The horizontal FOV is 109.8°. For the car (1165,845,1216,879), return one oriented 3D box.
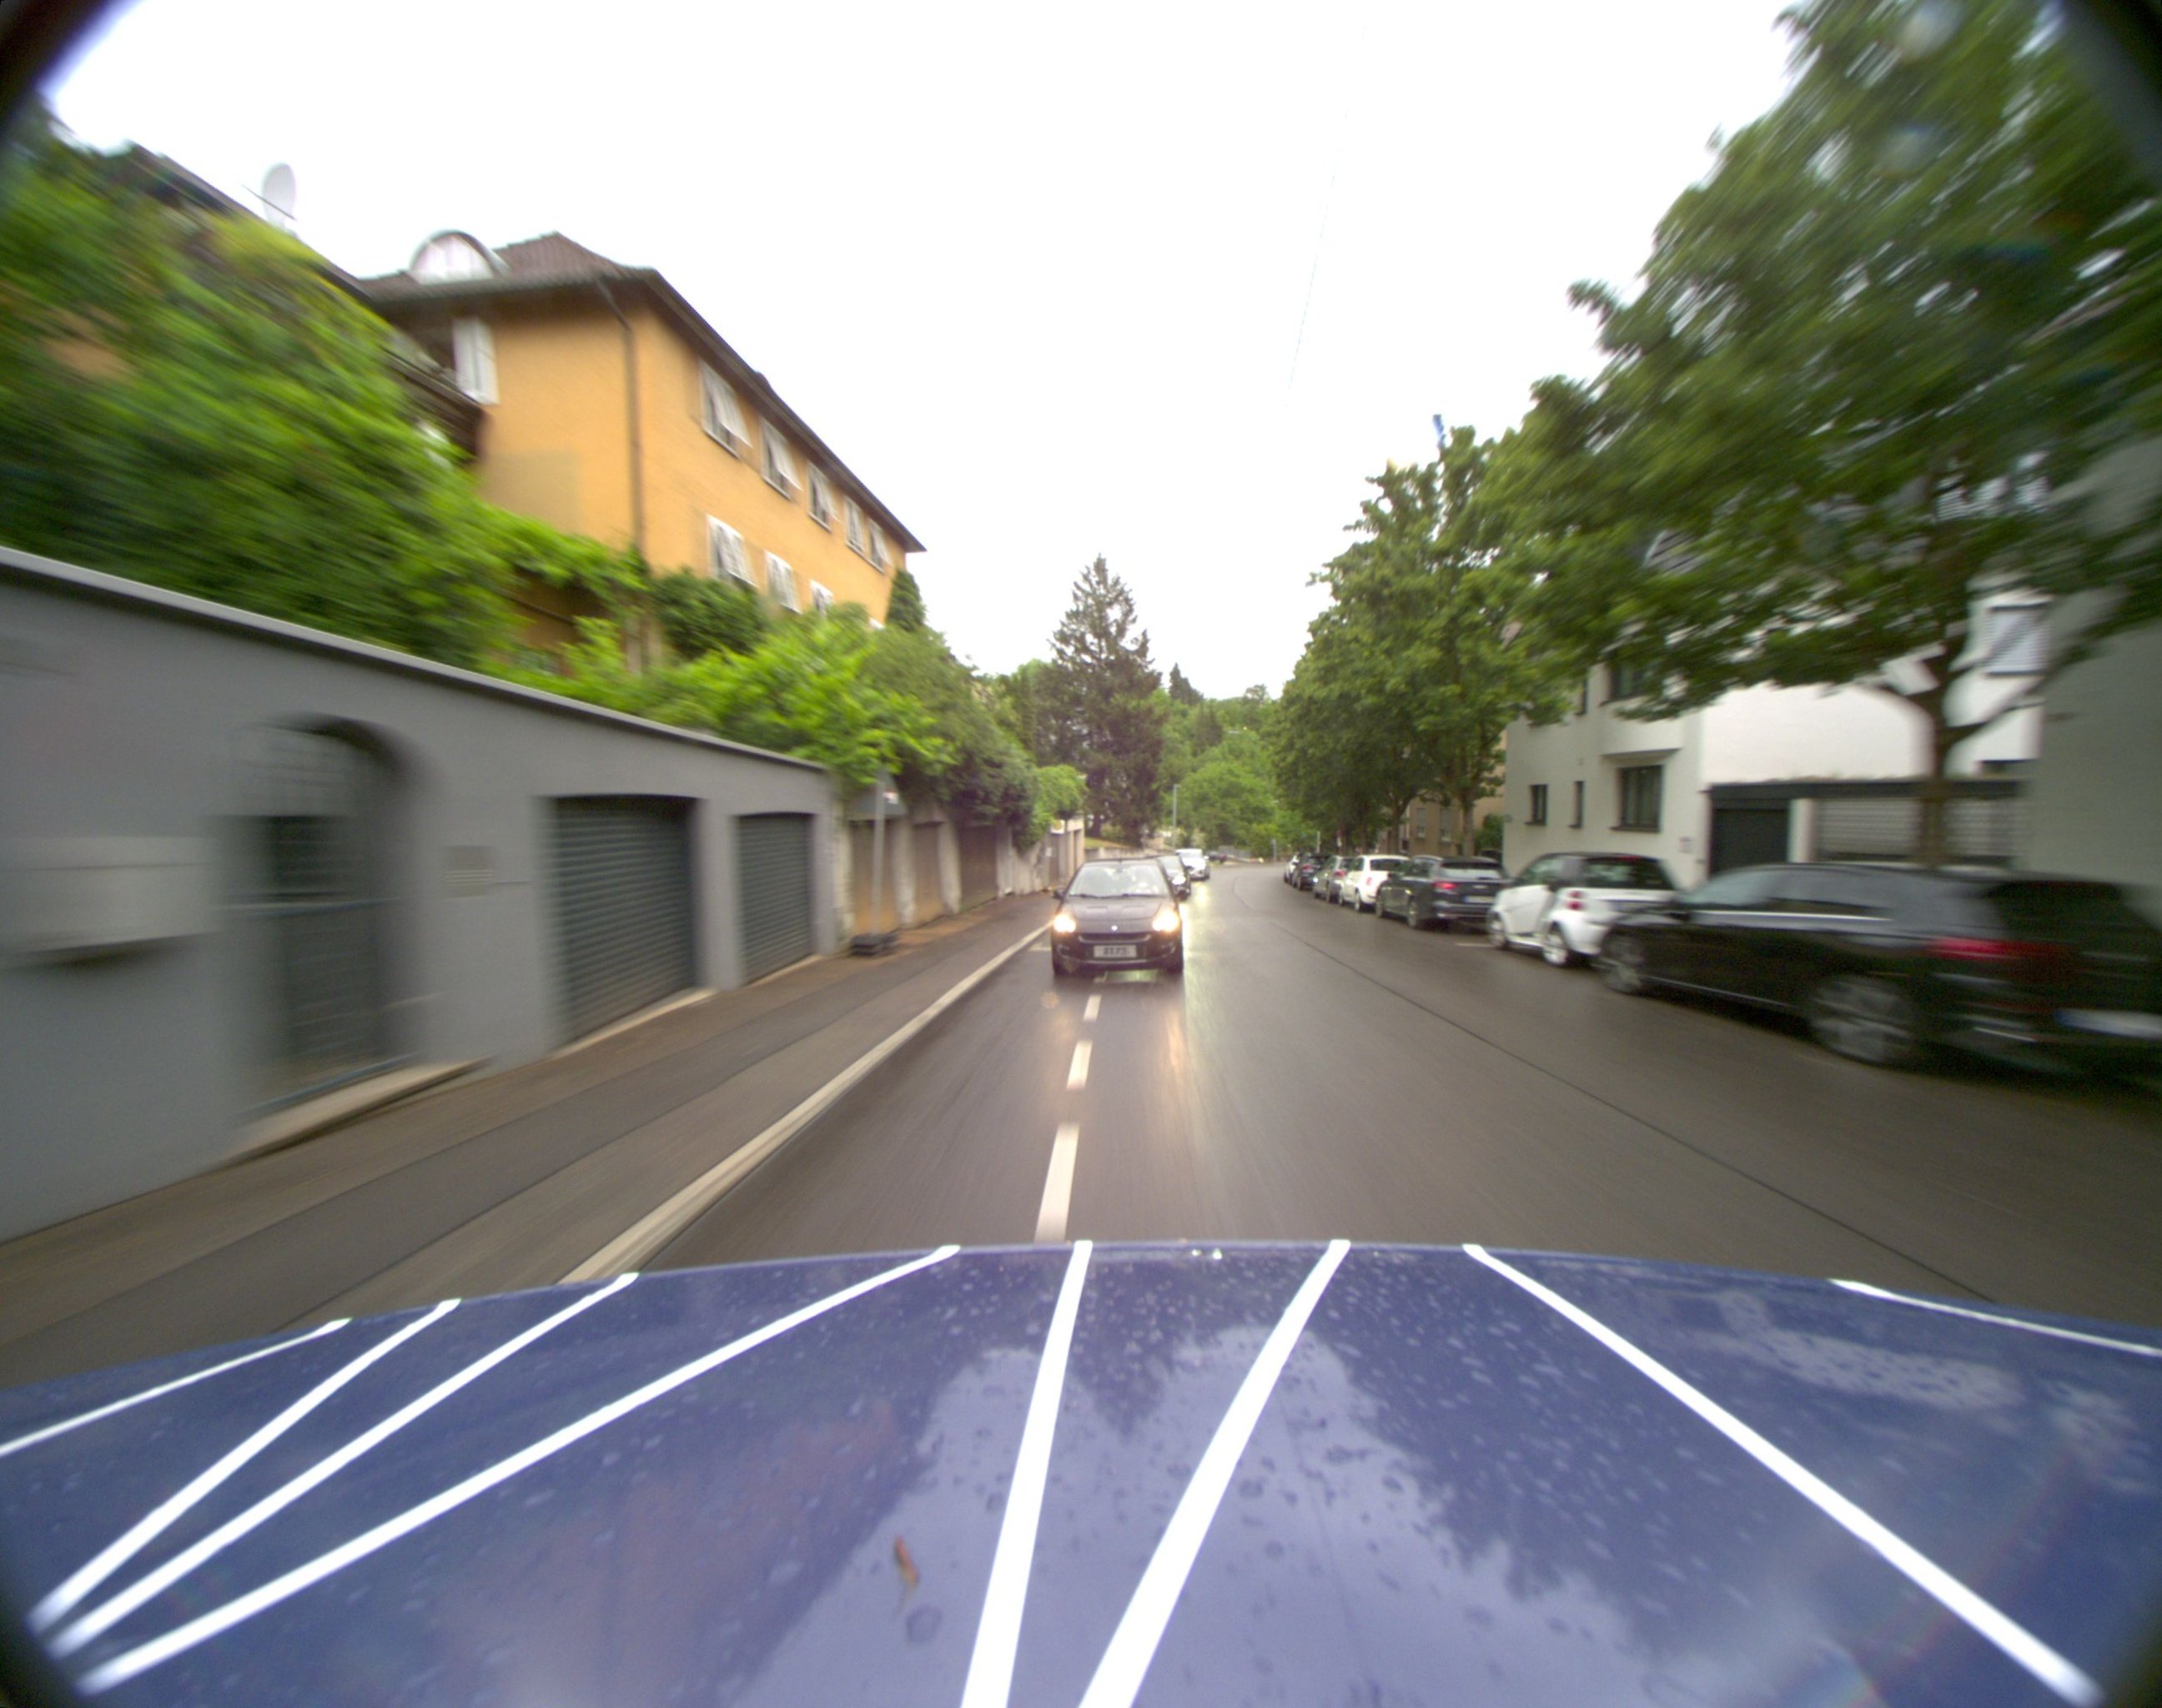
[{"bbox_3d":[5.802,0.391,39.896,2.010,1.652,4.450,2,1,16],"label":"car"}]

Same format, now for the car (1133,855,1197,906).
[{"bbox_3d":[2.865,0.812,25.192,1.806,1.480,4.020,2,1,10],"label":"car"}]

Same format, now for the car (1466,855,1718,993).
[{"bbox_3d":[7.075,0.858,10.972,1.558,1.502,3.384,3,2,7],"label":"car"}]

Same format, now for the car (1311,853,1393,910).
[{"bbox_3d":[8.475,0.790,24.079,1.621,1.462,3.974,3,2,8],"label":"car"}]

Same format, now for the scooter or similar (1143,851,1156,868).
[{"bbox_3d":[4.698,0.358,52.181,0.598,1.126,1.372,2,1,17],"label":"scooter or similar"}]

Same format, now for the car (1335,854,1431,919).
[{"bbox_3d":[7.953,0.789,20.290,1.577,1.480,3.472,3,1,9],"label":"car"}]

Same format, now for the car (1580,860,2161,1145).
[{"bbox_3d":[6.282,0.899,6.481,1.558,1.480,4.098,3,2,5],"label":"car"}]

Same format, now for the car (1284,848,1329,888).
[{"bbox_3d":[10.884,0.632,36.875,1.594,1.649,3.926,5,2,11],"label":"car"}]

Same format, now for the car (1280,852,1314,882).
[{"bbox_3d":[12.172,0.686,42.713,1.619,1.463,3.673,6,2,17],"label":"car"}]

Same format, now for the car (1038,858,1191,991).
[{"bbox_3d":[0.635,0.841,10.649,1.577,1.444,3.589,-2,1,11],"label":"car"}]

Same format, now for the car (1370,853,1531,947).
[{"bbox_3d":[7.425,0.815,15.783,1.667,1.480,4.477,3,2,8],"label":"car"}]

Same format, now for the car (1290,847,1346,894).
[{"bbox_3d":[9.713,0.614,31.427,1.620,1.649,3.926,4,2,10],"label":"car"}]
